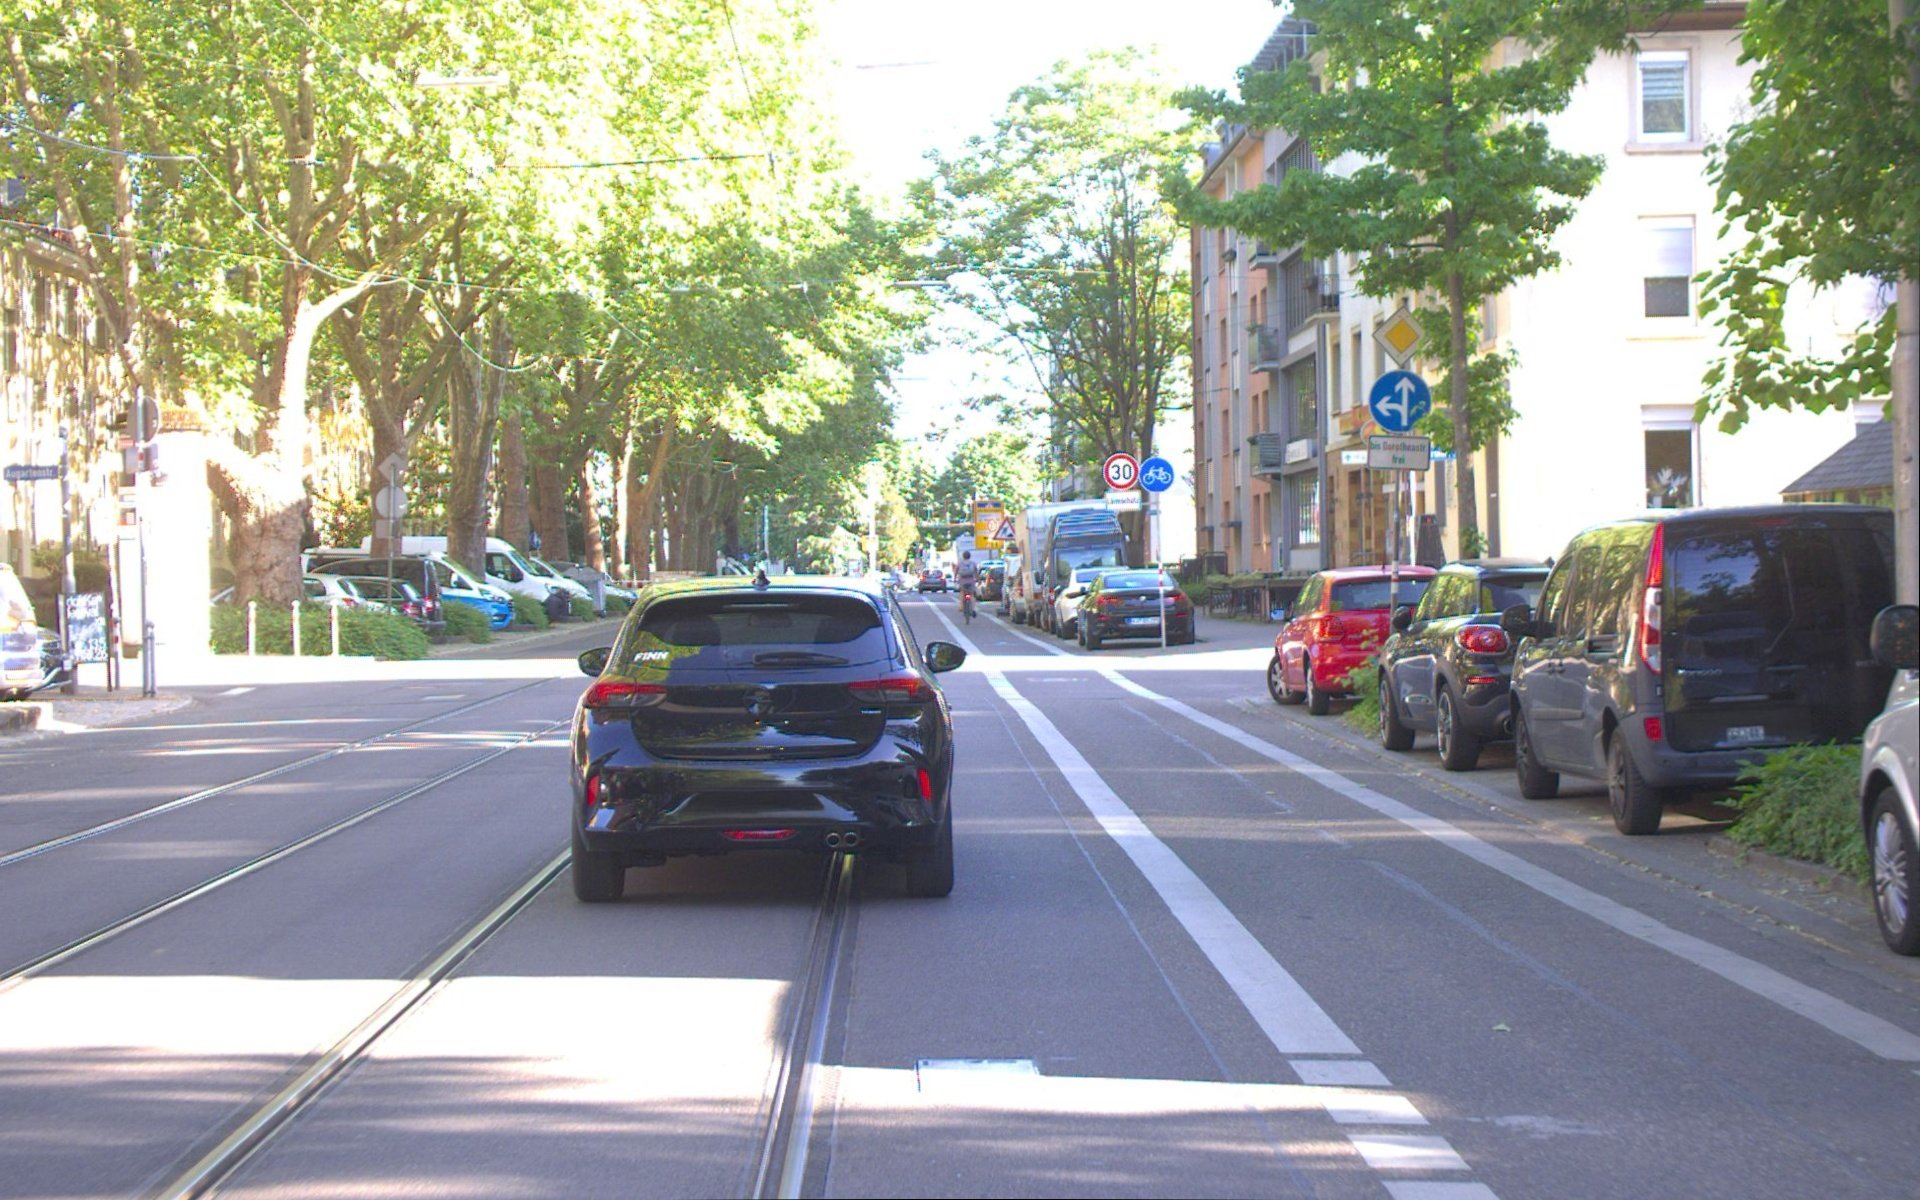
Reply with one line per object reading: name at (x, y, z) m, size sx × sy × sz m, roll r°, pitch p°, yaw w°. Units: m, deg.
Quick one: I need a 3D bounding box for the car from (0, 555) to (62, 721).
car at (-12.299, 0.411, 37.957) m, size 4.299 × 1.795 × 1.926 m, roll 0°, pitch 0°, yaw -3°

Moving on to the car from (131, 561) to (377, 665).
car at (-13.174, 0.235, 64.327) m, size 4.299 × 1.588 × 1.783 m, roll -4°, pitch 0°, yaw -8°

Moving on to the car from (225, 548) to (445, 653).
car at (-12.906, 0.010, 71.181) m, size 4.299 × 1.834 × 1.783 m, roll -4°, pitch 0°, yaw -8°

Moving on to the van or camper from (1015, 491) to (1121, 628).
van or camper at (2.638, -0.999, 85.160) m, size 2.254 × 3.205 × 5.531 m, roll -2°, pitch 0°, yaw -1°

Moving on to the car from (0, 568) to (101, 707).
car at (-12.514, 0.431, 40.590) m, size 4.299 × 1.601 × 1.926 m, roll 0°, pitch 1°, yaw -3°

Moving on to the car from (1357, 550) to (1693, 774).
car at (4.261, 0.428, 26.519) m, size 1.712 × 1.509 × 4.037 m, roll -3°, pitch 0°, yaw -2°

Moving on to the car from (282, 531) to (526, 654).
car at (-12.563, -0.174, 77.880) m, size 5.036 × 2.366 × 2.081 m, roll -4°, pitch 0°, yaw 0°

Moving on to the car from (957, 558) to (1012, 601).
car at (1.084, -0.912, 155.408) m, size 2.254 × 1.834 × 5.531 m, roll -2°, pitch 0°, yaw -1°

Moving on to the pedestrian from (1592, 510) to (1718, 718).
pedestrian at (5.936, 0.106, 29.397) m, size 0.829 × 1.705 × 0.835 m, roll -3°, pitch 2°, yaw 0°

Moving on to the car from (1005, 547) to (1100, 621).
car at (2.436, -0.440, 92.362) m, size 2.254 × 1.834 × 5.531 m, roll -2°, pitch 0°, yaw -1°

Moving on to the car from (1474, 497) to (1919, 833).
car at (4.450, 0.329, 20.745) m, size 1.885 × 1.760 × 4.678 m, roll -1°, pitch 0°, yaw -1°

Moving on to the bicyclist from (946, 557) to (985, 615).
bicyclist at (0.145, -0.365, 88.257) m, size 0.958 × 1.494 × 1.094 m, roll 0°, pitch 0°, yaw -2°

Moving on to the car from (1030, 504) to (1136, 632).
car at (2.770, -0.759, 78.596) m, size 2.085 × 2.762 × 4.698 m, roll -2°, pitch 1°, yaw -1°

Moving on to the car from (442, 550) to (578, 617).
car at (-13.573, -0.494, 103.649) m, size 3.986 × 2.007 × 2.000 m, roll 0°, pitch 0°, yaw -9°

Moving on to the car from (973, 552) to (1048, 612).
car at (1.646, -0.604, 113.901) m, size 2.254 × 1.834 × 5.531 m, roll -2°, pitch 0°, yaw -1°

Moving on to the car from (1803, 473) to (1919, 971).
car at (4.485, 0.415, 11.618) m, size 1.884 × 1.845 × 4.967 m, roll -3°, pitch 0°, yaw -1°

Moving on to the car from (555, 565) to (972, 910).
car at (-0.857, 0.567, 16.518) m, size 1.763 × 1.455 × 3.950 m, roll 0°, pitch 0°, yaw -1°

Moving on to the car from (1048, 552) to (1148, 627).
car at (2.840, -0.203, 71.402) m, size 1.803 × 1.429 × 4.000 m, roll -2°, pitch -1°, yaw -1°

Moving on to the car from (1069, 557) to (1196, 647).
car at (3.033, 0.015, 61.304) m, size 1.884 × 1.429 × 4.530 m, roll -3°, pitch 0°, yaw -1°

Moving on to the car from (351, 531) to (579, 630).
car at (-13.007, -0.513, 90.591) m, size 5.639 × 2.584 × 2.196 m, roll 0°, pitch 0°, yaw 3°

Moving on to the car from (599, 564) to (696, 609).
car at (-13.923, -0.597, 153.248) m, size 3.988 × 2.007 × 2.000 m, roll 0°, pitch 0°, yaw 6°

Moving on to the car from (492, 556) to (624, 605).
car at (-13.669, -0.660, 116.838) m, size 4.353 × 1.659 × 2.001 m, roll 0°, pitch 0°, yaw -9°

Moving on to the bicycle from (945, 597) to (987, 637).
bicycle at (0.142, 0.430, 88.276) m, size 0.968 × 0.995 × 2.583 m, roll 0°, pitch 0°, yaw -2°

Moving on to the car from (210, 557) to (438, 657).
car at (-12.698, 0.138, 68.854) m, size 4.299 × 1.669 × 1.783 m, roll -4°, pitch 0°, yaw -8°

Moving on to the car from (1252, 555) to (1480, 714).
car at (4.091, 0.317, 35.199) m, size 1.702 × 1.418 × 3.978 m, roll -4°, pitch 0°, yaw -1°
